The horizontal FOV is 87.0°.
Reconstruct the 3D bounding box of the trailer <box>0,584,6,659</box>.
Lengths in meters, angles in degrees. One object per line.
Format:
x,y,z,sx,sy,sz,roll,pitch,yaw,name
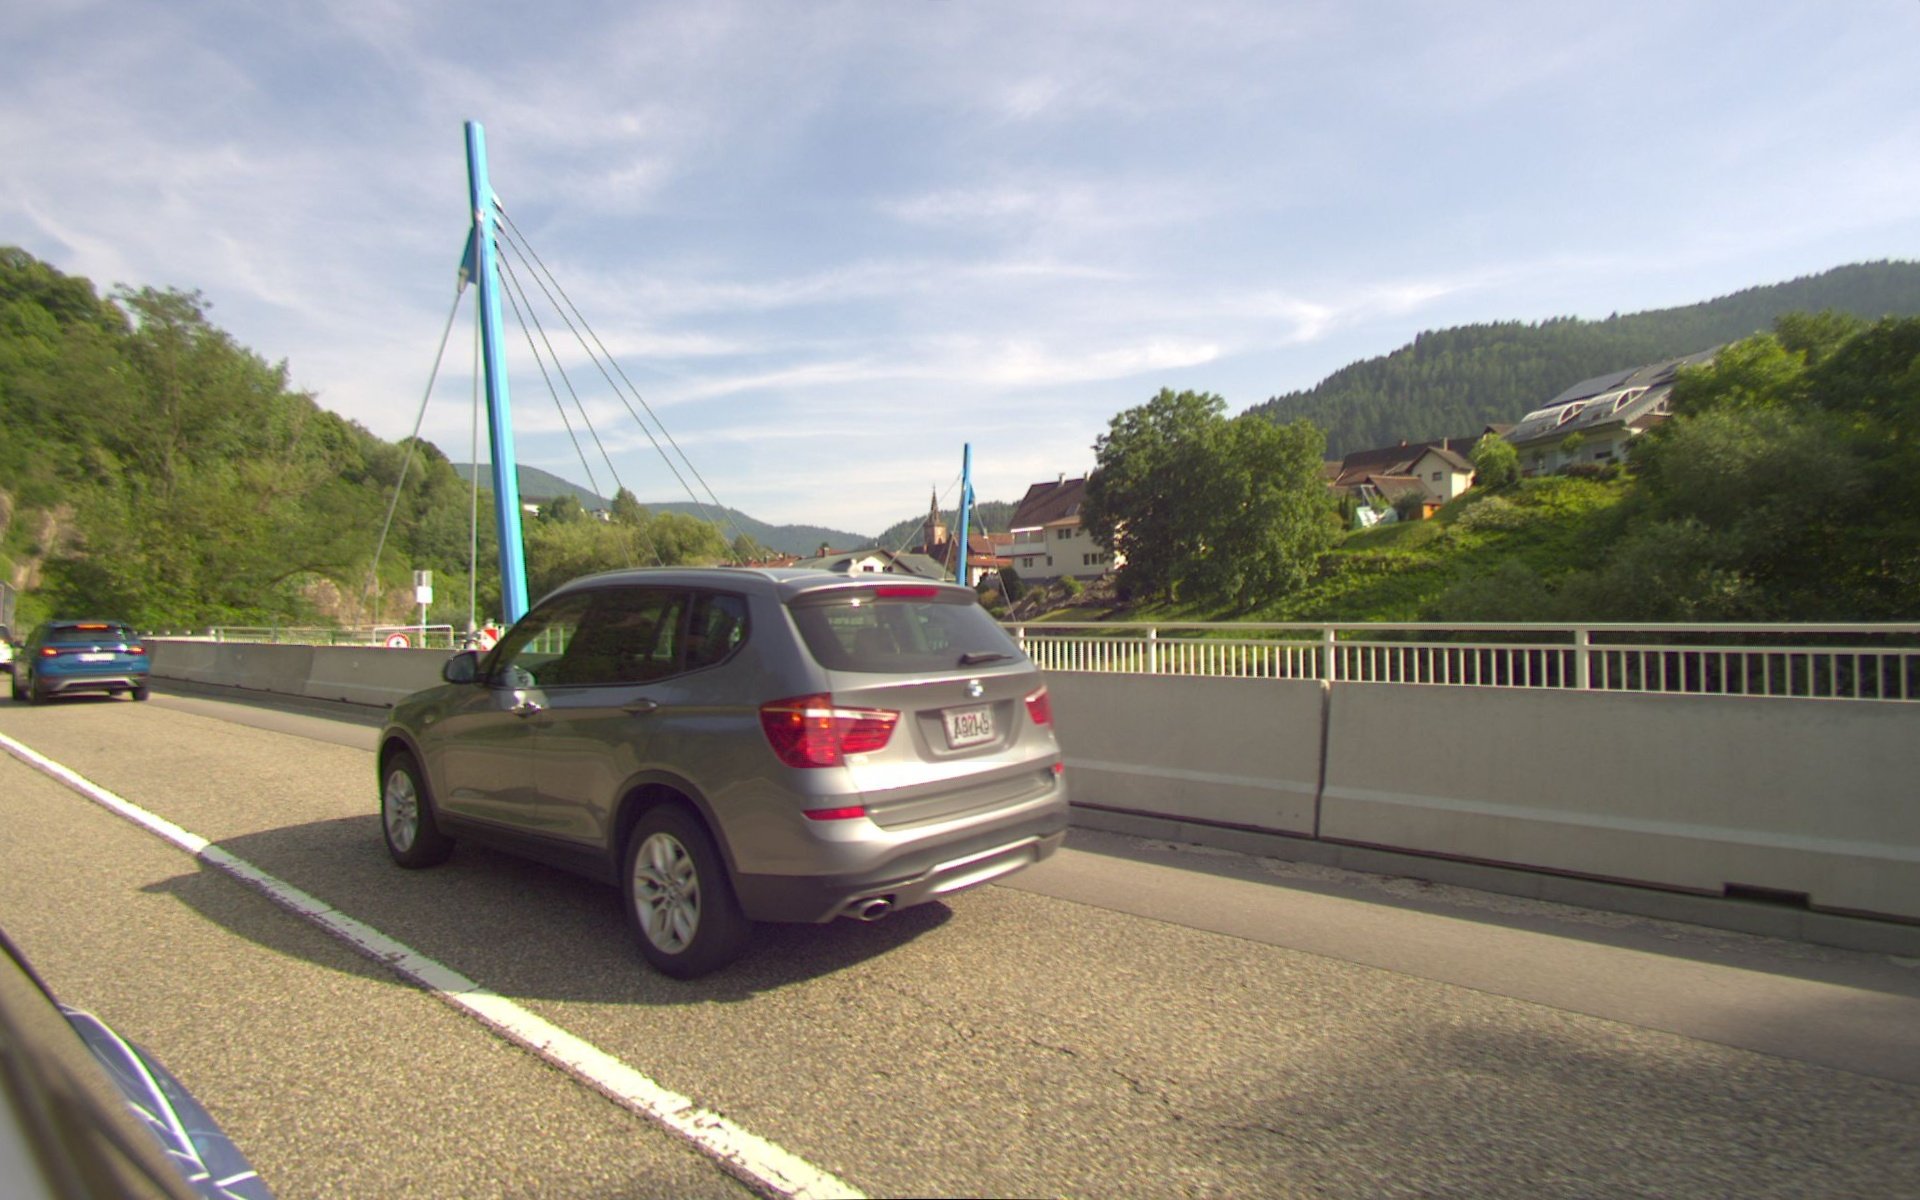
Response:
-57.380,1.260,58.470,2.824,4.044,13.678,3,-4,-45,trailer

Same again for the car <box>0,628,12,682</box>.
-31.691,1.725,32.187,4.645,1.683,1.754,-2,-3,41,car

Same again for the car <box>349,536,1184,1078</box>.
-1.333,0.664,5.317,4.506,1.641,1.972,-1,-1,42,car

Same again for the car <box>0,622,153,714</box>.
-17.451,1.256,19.830,4.329,1.568,1.780,-2,-1,41,car
